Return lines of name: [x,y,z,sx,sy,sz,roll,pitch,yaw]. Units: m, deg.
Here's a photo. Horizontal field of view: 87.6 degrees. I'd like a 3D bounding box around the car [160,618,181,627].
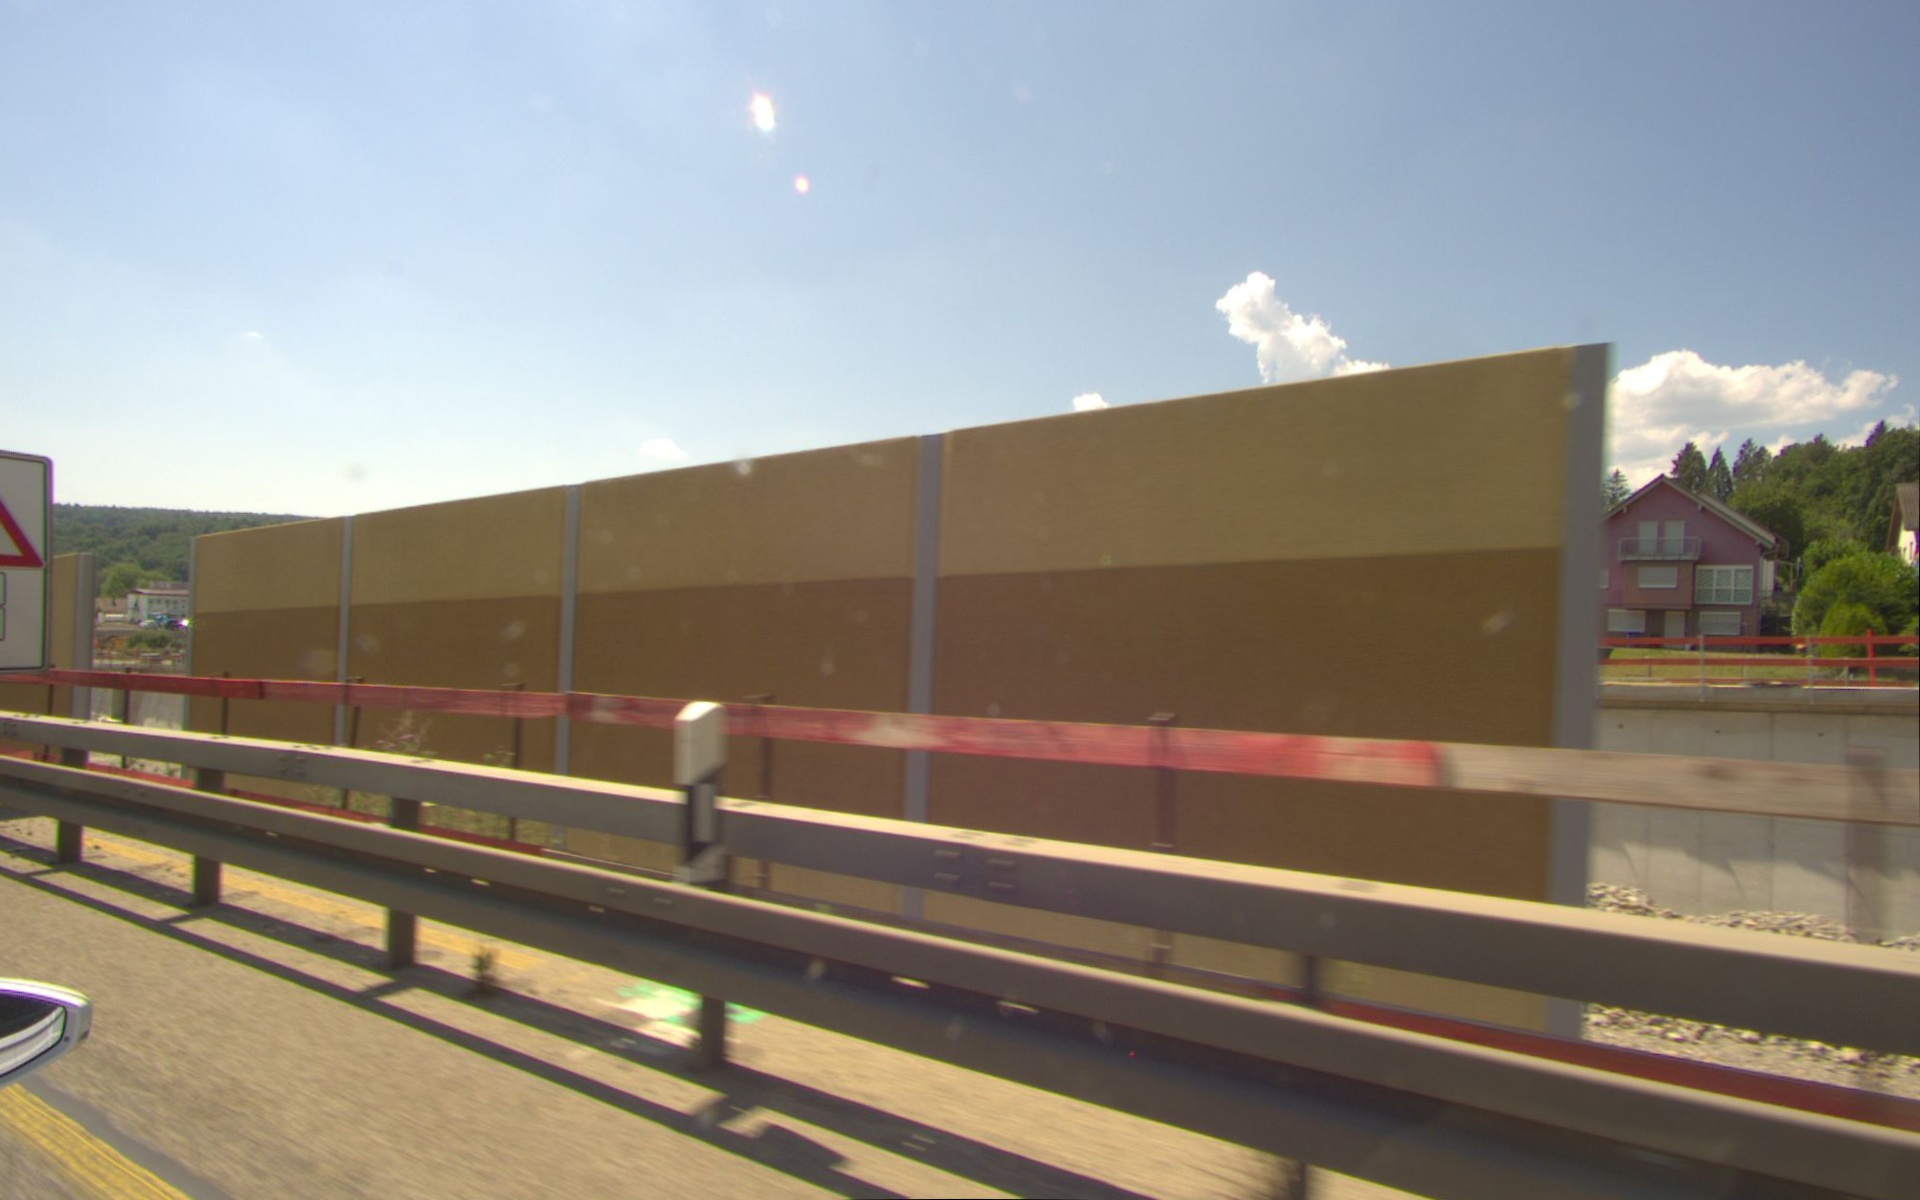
car: [-135.719,3.905,172.211,4.019,1.537,1.677,-1,-2,34]
